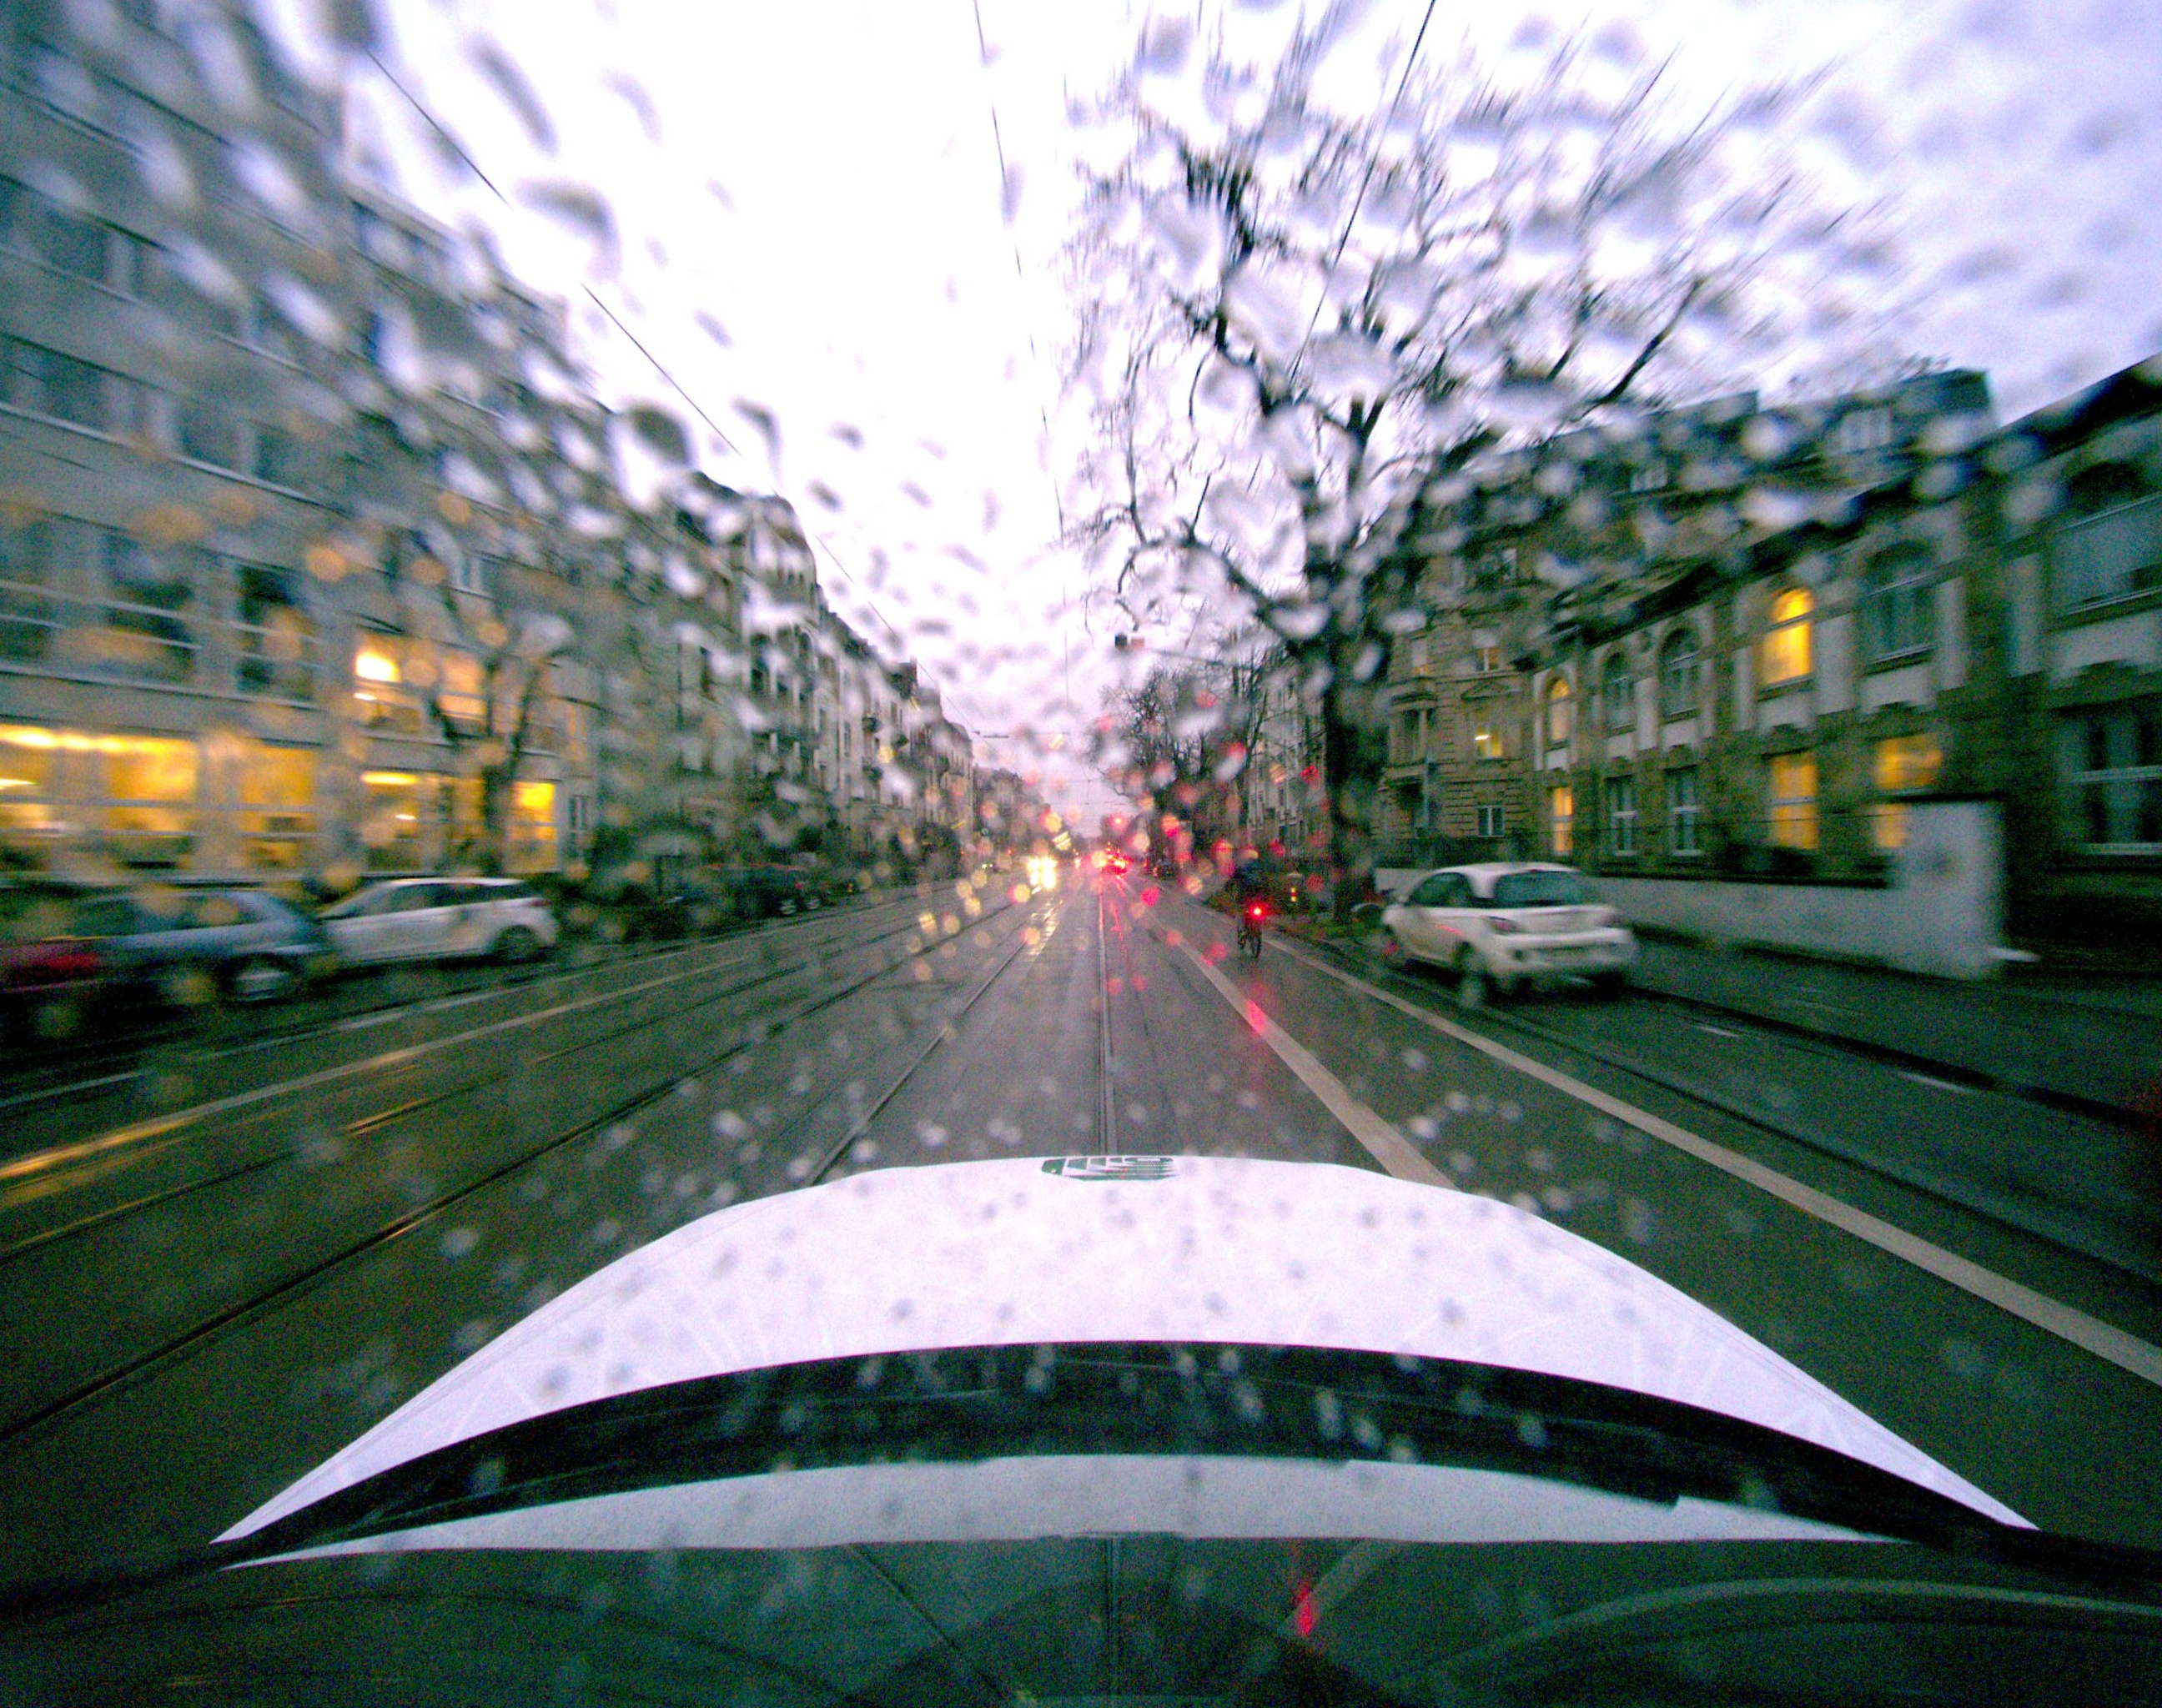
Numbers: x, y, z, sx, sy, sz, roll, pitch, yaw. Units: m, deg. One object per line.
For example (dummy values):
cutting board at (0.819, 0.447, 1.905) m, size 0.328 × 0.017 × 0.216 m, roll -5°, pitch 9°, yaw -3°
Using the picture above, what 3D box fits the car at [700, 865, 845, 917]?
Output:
car at (-10.039, 1.153, 26.681) m, size 4.022 × 1.428 × 1.826 m, roll -2°, pitch 1°, yaw -42°

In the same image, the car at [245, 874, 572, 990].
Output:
car at (-10.682, 1.121, 13.154) m, size 3.875 × 1.423 × 1.715 m, roll -2°, pitch 1°, yaw -45°

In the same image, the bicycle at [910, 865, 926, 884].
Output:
bicycle at (-9.613, 1.204, 48.083) m, size 0.691 × 1.031 × 1.592 m, roll -2°, pitch 0°, yaw -6°

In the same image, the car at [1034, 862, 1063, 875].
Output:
car at (-4.614, 2.118, 116.723) m, size 3.971 × 1.728 × 1.741 m, roll -2°, pitch 0°, yaw 2°

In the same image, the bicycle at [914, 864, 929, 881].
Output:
bicycle at (-9.788, 1.140, 49.934) m, size 0.691 × 1.031 × 1.594 m, roll -2°, pitch -1°, yaw -4°

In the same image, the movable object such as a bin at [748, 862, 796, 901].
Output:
movable object such as a bin at (-12.246, 1.067, 32.356) m, size 1.256 × 1.450 × 1.329 m, roll -1°, pitch 0°, yaw 8°

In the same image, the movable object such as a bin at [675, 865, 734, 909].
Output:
movable object such as a bin at (-12.916, 1.120, 27.989) m, size 1.256 × 1.450 × 1.329 m, roll -1°, pitch 0°, yaw 8°

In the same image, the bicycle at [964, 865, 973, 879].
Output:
bicycle at (-9.300, 1.465, 67.247) m, size 0.613 × 1.080 × 1.809 m, roll -2°, pitch 0°, yaw -3°

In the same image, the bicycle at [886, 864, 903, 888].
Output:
bicycle at (-10.026, 1.165, 43.850) m, size 0.692 × 1.212 × 1.592 m, roll -2°, pitch 0°, yaw -8°

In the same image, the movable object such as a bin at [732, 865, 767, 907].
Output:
movable object such as a bin at (-11.982, 1.148, 29.480) m, size 1.093 × 1.450 × 1.104 m, roll -2°, pitch 0°, yaw -20°

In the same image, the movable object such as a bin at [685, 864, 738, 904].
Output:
movable object such as a bin at (-14.085, 1.127, 31.091) m, size 1.256 × 1.450 × 1.329 m, roll -1°, pitch 0°, yaw 8°

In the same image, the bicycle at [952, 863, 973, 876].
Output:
bicycle at (-10.584, 1.394, 72.707) m, size 1.802 × 1.080 × 0.615 m, roll -2°, pitch 0°, yaw -6°

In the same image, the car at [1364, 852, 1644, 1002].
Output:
car at (5.103, 0.769, 10.427) m, size 1.686 × 1.519 × 3.637 m, roll -2°, pitch 0°, yaw 0°

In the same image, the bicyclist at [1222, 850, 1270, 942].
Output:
bicyclist at (2.710, 0.672, 13.440) m, size 0.653 × 1.446 × 0.850 m, roll -2°, pitch 0°, yaw 4°

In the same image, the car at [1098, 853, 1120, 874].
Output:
car at (2.691, 0.931, 78.457) m, size 1.987 × 1.897 × 4.758 m, roll 0°, pitch -1°, yaw 0°

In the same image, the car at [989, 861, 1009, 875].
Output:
car at (-9.416, 1.641, 93.709) m, size 1.827 × 1.447 × 4.001 m, roll -2°, pitch 0°, yaw 1°

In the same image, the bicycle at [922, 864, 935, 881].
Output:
bicycle at (-9.709, 1.173, 51.927) m, size 0.692 × 1.031 × 1.592 m, roll -2°, pitch -2°, yaw -8°

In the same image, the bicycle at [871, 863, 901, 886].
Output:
bicycle at (-11.402, 1.182, 47.630) m, size 1.582 × 1.264 × 0.490 m, roll -2°, pitch -5°, yaw 4°

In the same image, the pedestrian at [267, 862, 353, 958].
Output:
pedestrian at (-14.154, 0.999, 14.975) m, size 0.595 × 1.677 × 0.973 m, roll -2°, pitch 0°, yaw 1°

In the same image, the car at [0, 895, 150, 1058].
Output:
car at (-10.880, 1.136, 6.559) m, size 1.728 × 1.352 × 4.374 m, roll -3°, pitch -1°, yaw 43°

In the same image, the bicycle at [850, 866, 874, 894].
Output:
bicycle at (-9.847, 1.160, 36.671) m, size 0.691 × 1.212 × 1.594 m, roll -2°, pitch 0°, yaw -4°

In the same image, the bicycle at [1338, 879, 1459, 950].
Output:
bicycle at (5.172, 0.975, 13.340) m, size 1.707 × 1.071 × 0.663 m, roll -2°, pitch 0°, yaw 1°

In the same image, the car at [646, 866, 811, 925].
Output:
car at (-10.177, 1.130, 23.677) m, size 4.023 × 1.470 × 1.809 m, roll -1°, pitch 0°, yaw -44°

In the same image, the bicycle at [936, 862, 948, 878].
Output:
bicycle at (-9.614, 1.089, 56.486) m, size 0.485 × 1.099 × 1.930 m, roll -2°, pitch 0°, yaw 0°

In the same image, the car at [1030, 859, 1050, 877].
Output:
car at (-4.737, 1.558, 95.226) m, size 2.039 × 1.922 × 5.099 m, roll -2°, pitch 0°, yaw 0°

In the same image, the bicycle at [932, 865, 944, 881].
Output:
bicycle at (-9.590, 1.245, 54.624) m, size 0.692 × 1.031 × 1.592 m, roll -2°, pitch -1°, yaw -8°

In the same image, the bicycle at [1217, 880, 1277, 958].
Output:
bicycle at (2.711, 1.033, 13.489) m, size 0.704 × 1.096 × 2.031 m, roll -2°, pitch 0°, yaw 4°

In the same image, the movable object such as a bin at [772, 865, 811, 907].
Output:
movable object such as a bin at (-10.642, 1.155, 29.930) m, size 1.268 × 1.450 × 1.104 m, roll -2°, pitch 0°, yaw -21°

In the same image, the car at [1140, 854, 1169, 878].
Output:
car at (6.329, 1.029, 70.648) m, size 1.987 × 1.900 × 5.027 m, roll -2°, pitch 0°, yaw 0°

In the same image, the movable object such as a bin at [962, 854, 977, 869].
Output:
movable object such as a bin at (-12.072, 0.783, 88.328) m, size 1.404 × 1.530 × 1.365 m, roll -2°, pitch 0°, yaw 1°

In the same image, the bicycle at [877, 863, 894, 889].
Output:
bicycle at (-9.877, 1.104, 41.124) m, size 0.629 × 1.212 × 1.592 m, roll -2°, pitch 0°, yaw -8°

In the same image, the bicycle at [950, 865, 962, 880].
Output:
bicycle at (-9.433, 1.397, 61.539) m, size 0.623 × 1.017 × 1.805 m, roll -2°, pitch 0°, yaw 0°

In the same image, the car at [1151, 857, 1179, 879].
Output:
car at (6.058, 1.001, 59.048) m, size 1.672 × 1.460 × 4.042 m, roll -2°, pitch 0°, yaw 0°

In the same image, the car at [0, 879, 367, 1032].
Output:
car at (-11.185, 1.123, 9.531) m, size 4.016 × 1.463 × 1.718 m, roll -2°, pitch -1°, yaw -34°

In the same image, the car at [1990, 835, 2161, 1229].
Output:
car at (5.012, 0.688, 1.968) m, size 1.638 × 1.523 × 3.570 m, roll -1°, pitch 0°, yaw -1°
